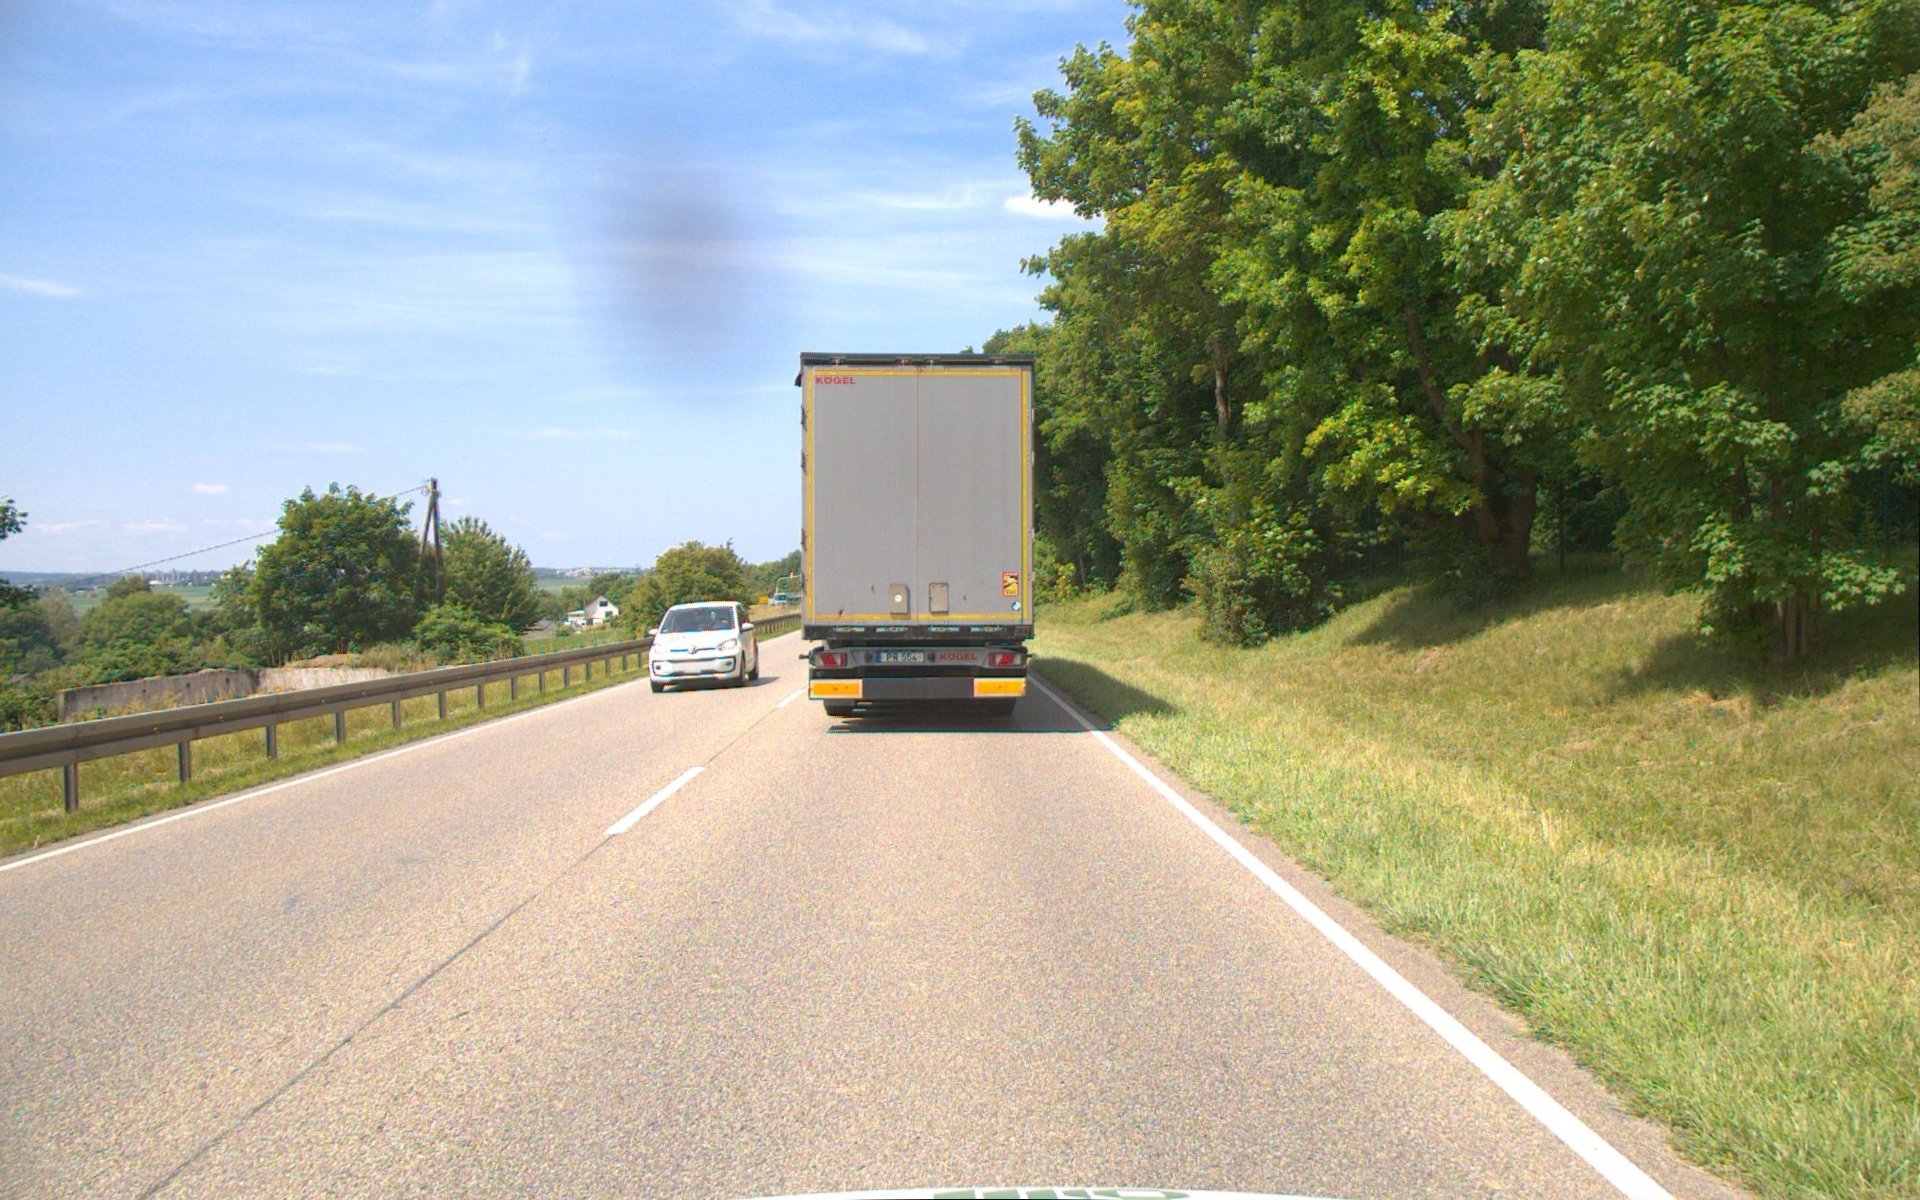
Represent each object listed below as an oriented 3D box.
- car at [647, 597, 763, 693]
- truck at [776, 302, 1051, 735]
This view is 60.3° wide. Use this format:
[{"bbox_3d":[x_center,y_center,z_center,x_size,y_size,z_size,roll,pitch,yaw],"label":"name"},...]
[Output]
[{"bbox_3d":[-4.496,0.751,29.549,1.526,1.488,3.548,-4,0,-2],"label":"car"},{"bbox_3d":[-0.591,-0.863,21.618,2.848,4.487,8.857,0,0,-2],"label":"truck"}]
